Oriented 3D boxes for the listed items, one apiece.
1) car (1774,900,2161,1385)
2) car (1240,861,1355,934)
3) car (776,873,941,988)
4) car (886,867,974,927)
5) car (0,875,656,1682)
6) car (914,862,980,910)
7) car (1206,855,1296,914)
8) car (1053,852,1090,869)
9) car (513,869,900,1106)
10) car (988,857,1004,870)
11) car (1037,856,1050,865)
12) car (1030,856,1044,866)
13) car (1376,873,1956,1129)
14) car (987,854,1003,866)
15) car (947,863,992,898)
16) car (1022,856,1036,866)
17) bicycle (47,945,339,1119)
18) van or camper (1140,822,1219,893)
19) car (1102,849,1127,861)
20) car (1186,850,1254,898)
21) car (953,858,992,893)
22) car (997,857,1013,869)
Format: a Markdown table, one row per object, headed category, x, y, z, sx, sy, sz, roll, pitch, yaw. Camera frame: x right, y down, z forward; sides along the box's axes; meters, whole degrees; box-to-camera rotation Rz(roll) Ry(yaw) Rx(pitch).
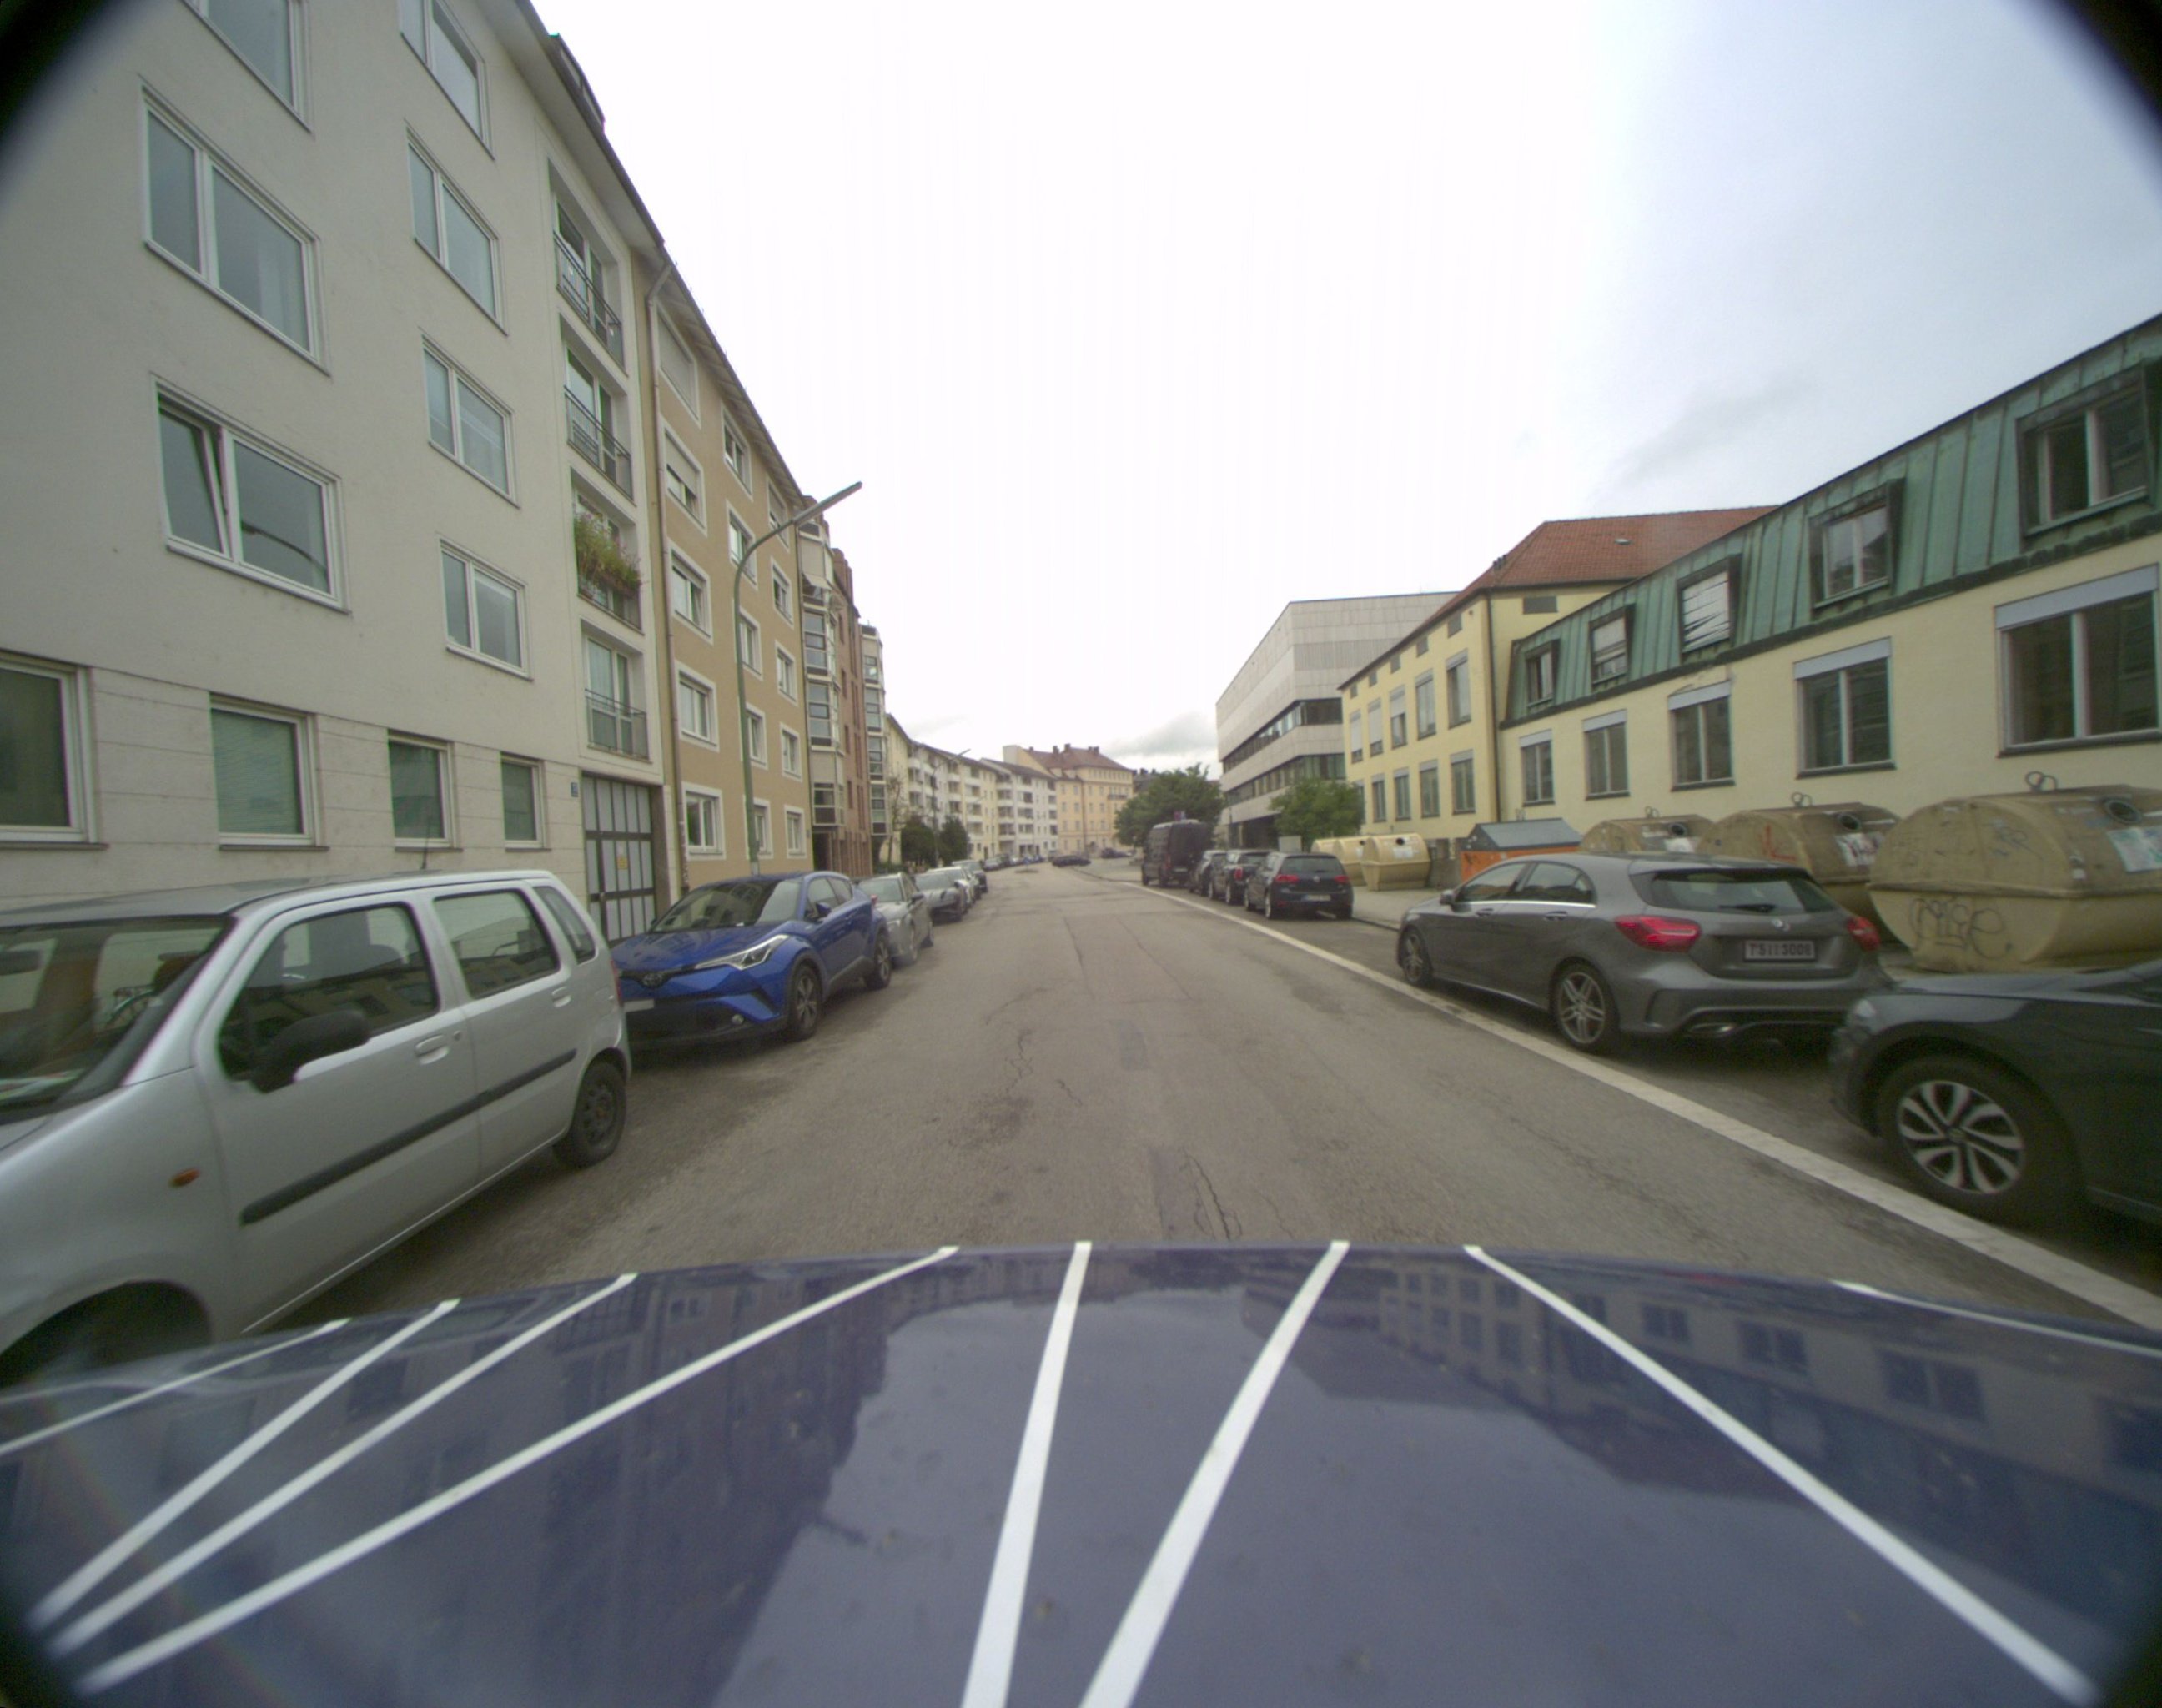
| category | x | y | z | sx | sy | sz | roll | pitch | yaw |
| --- | --- | --- | --- | --- | --- | --- | --- | --- | --- |
| car | 4.167 | 0.928 | 1.581 | 1.679 | 1.397 | 3.989 | 1 | 0 | -3 |
| car | 4.785 | 0.892 | 17.339 | 1.699 | 1.397 | 4.001 | 1 | 0 | 3 |
| car | -3.499 | 1.125 | 12.738 | 1.746 | 1.388 | 4.199 | -4 | 0 | -5 |
| car | -4.118 | 1.121 | 21.452 | 1.896 | 1.388 | 4.488 | -2 | 0 | -5 |
| car | -3.266 | 1.010 | 2.678 | 1.608 | 1.633 | 3.629 | -4 | 1 | -5 |
| car | -4.666 | 1.064 | 27.017 | 1.896 | 1.454 | 4.488 | -1 | 0 | -5 |
| car | 4.852 | 0.816 | 22.177 | 1.700 | 1.553 | 3.867 | 1 | 0 | 0 |
| car | -1.136 | 0.798 | 88.492 | 4.248 | 1.849 | 1.999 | -2 | 0 | -4 |
| car | -3.321 | 1.055 | 7.826 | 1.745 | 1.578 | 4.201 | -4 | 0 | 1 |
| car | -10.594 | 1.160 | 94.469 | 1.757 | 1.445 | 3.567 | -3 | 0 | -8 |
| car | -6.464 | 1.129 | 131.166 | 1.756 | 1.445 | 3.570 | -3 | 0 | 3 |
| car | -7.210 | 1.147 | 125.102 | 1.756 | 1.445 | 3.570 | -3 | 0 | 3 |
| car | 4.284 | 0.932 | 6.583 | 1.798 | 1.397 | 4.127 | 1 | 0 | 0 |
| car | -10.238 | 0.694 | 90.022 | 1.757 | 1.445 | 3.567 | -1 | 0 | -8 |
| car | -4.679 | 1.075 | 32.210 | 1.742 | 1.332 | 4.162 | -1 | 0 | -7 |
| car | -8.122 | 1.150 | 118.995 | 1.756 | 1.445 | 3.570 | -3 | 0 | 3 |
| bicycle | -7.735 | 1.487 | 6.760 | 0.669 | 1.115 | 1.651 | -3 | 1 | -5 |
| van or camper | 4.162 | 0.153 | 33.127 | 2.142 | 2.791 | 5.569 | -1 | 0 | -6 |
| car | 5.520 | 0.180 | 124.749 | 3.996 | 1.849 | 2.000 | -1 | 1 | 2 |
| car | 4.814 | 0.647 | 26.727 | 1.642 | 1.553 | 3.838 | 1 | 0 | 0 |
| car | -5.328 | 1.022 | 37.667 | 1.742 | 1.569 | 3.832 | -2 | 0 | -7 |
| car | -9.972 | 1.155 | 99.546 | 1.756 | 1.445 | 3.569 | -3 | 0 | -2 |
